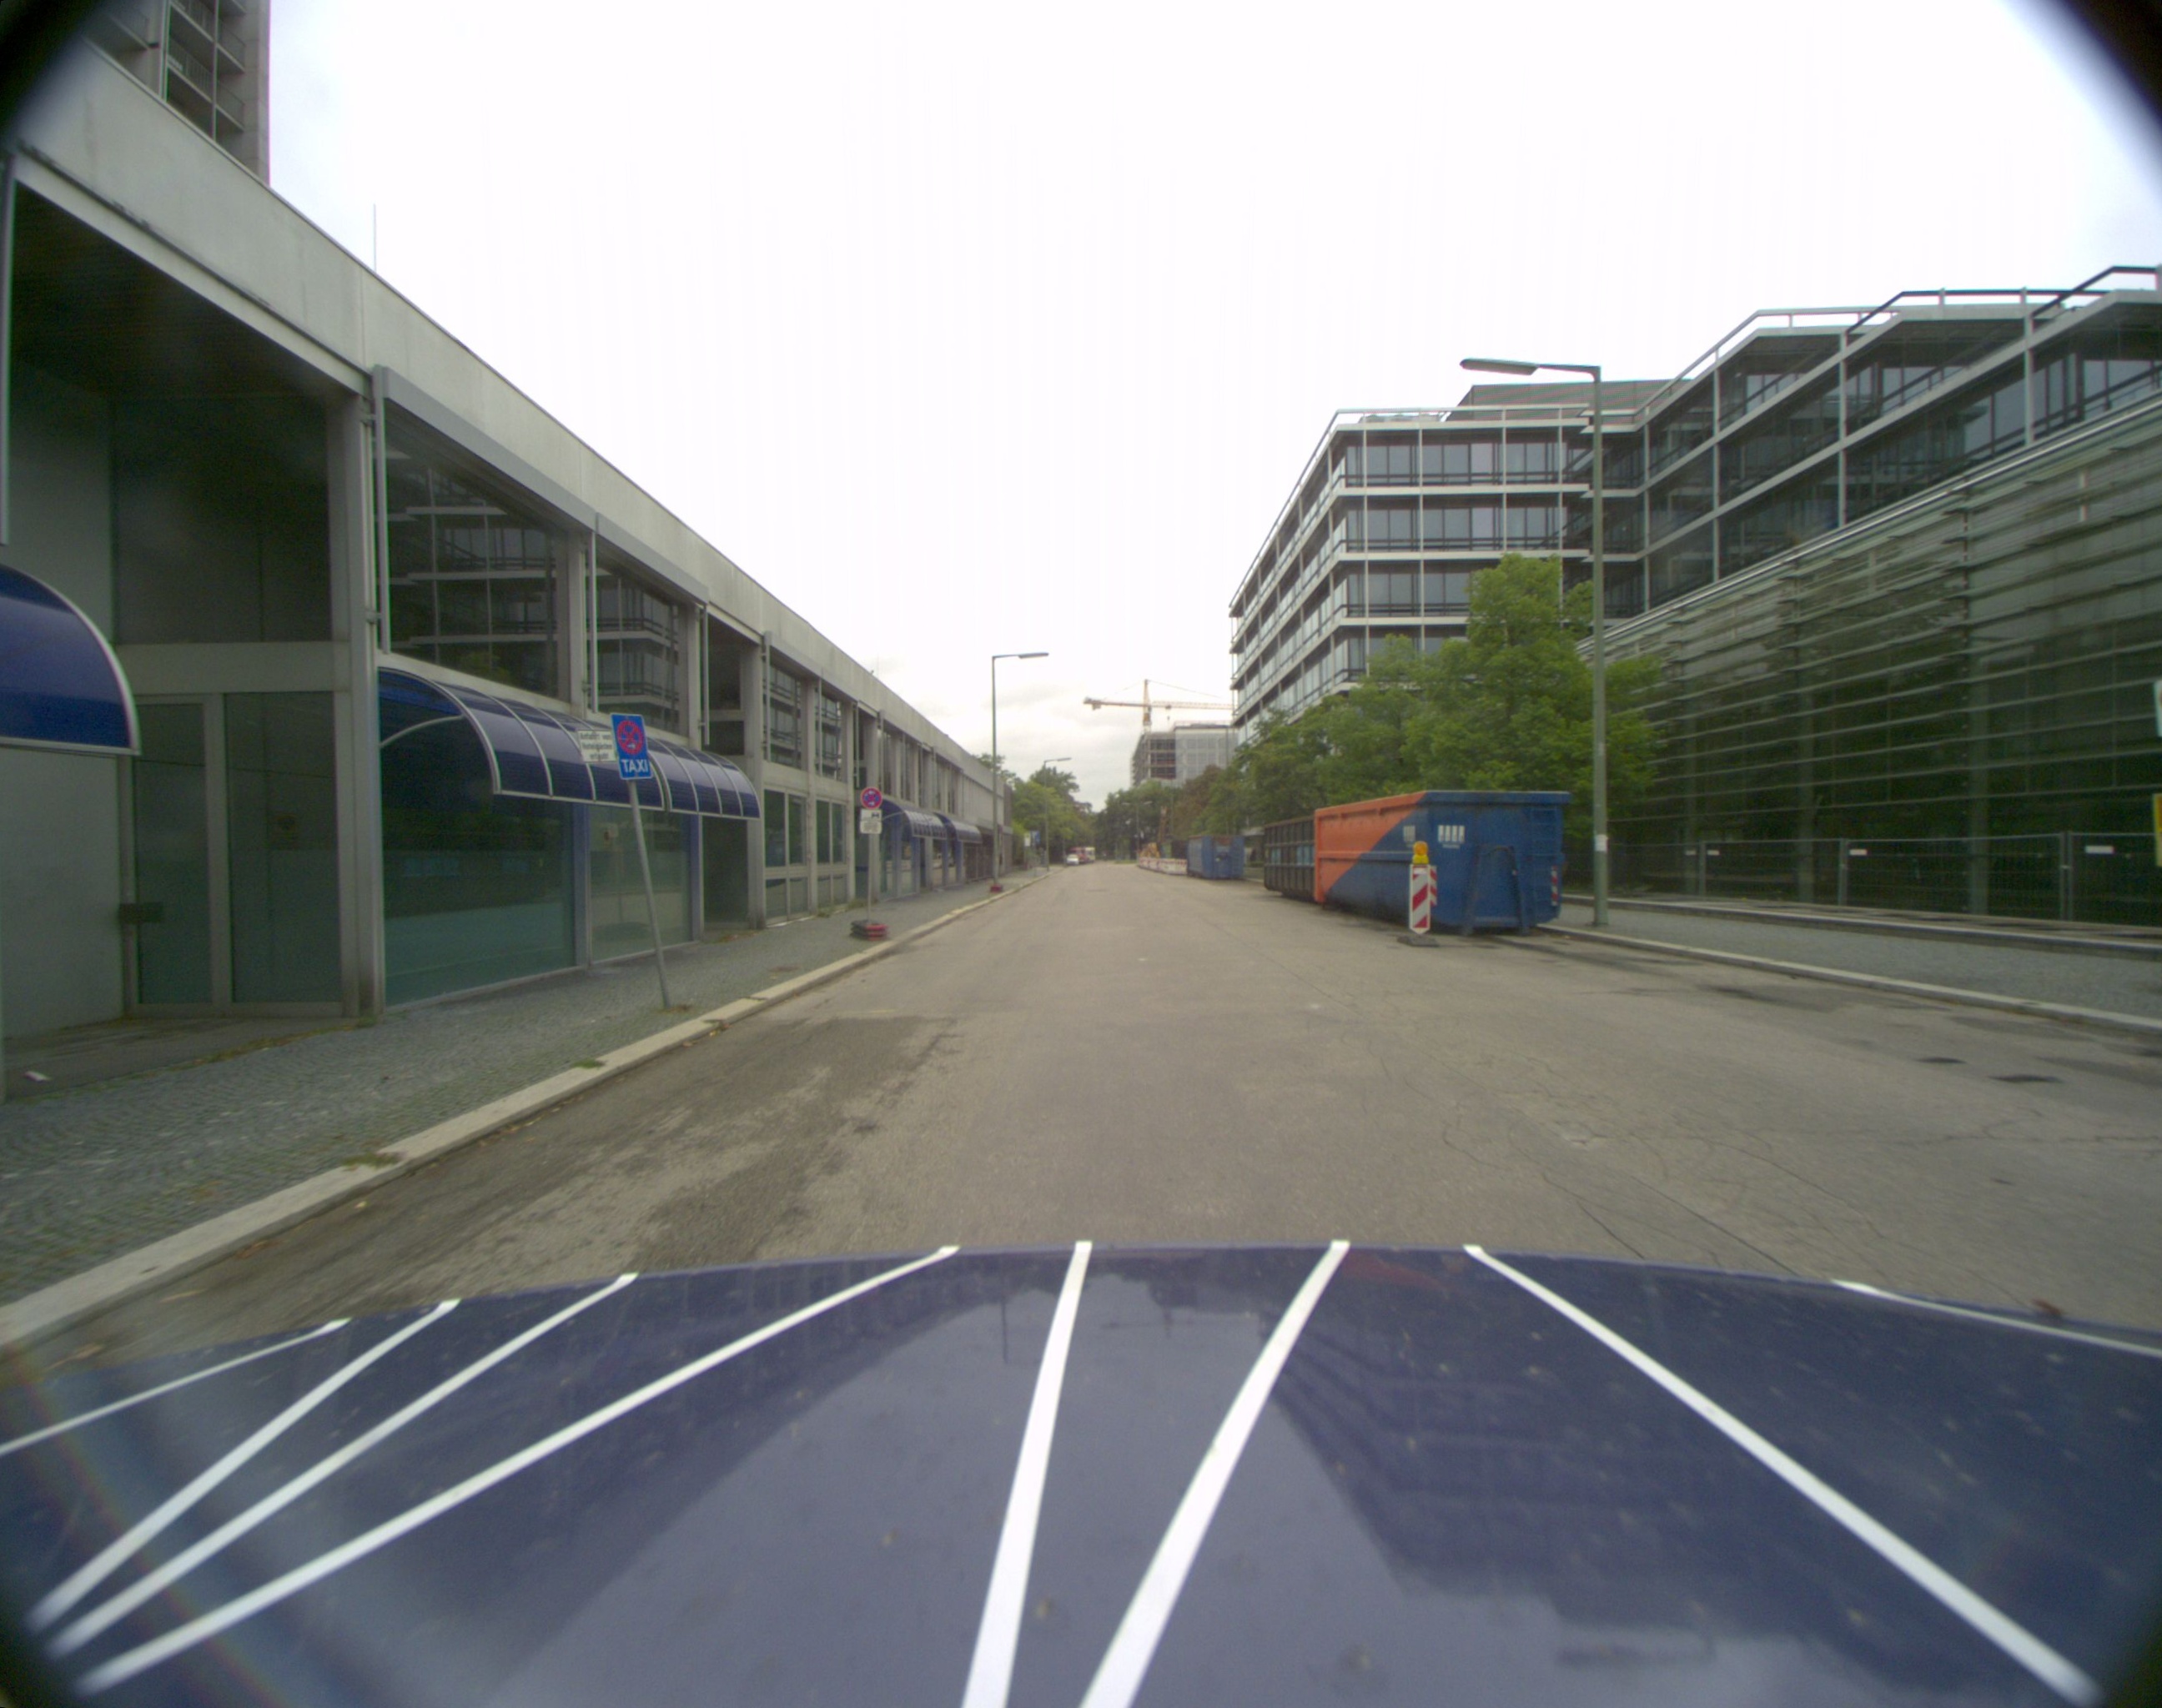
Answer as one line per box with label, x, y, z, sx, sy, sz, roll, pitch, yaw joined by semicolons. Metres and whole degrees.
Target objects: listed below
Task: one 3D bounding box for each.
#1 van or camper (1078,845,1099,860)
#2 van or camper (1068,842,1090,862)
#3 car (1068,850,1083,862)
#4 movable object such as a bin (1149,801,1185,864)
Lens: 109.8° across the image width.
van or camper;1.268;-0.314;126.621;2.665;2.436;6.448;-1;0;7
van or camper;-0.229;-0.311;112.343;2.666;2.751;6.916;-1;0;4
car;-0.742;0.309;106.082;1.912;1.627;4.000;-1;0;3
movable object such as a bin;8.963;-2.146;79.887;3.241;6.286;8.337;-1;1;3
